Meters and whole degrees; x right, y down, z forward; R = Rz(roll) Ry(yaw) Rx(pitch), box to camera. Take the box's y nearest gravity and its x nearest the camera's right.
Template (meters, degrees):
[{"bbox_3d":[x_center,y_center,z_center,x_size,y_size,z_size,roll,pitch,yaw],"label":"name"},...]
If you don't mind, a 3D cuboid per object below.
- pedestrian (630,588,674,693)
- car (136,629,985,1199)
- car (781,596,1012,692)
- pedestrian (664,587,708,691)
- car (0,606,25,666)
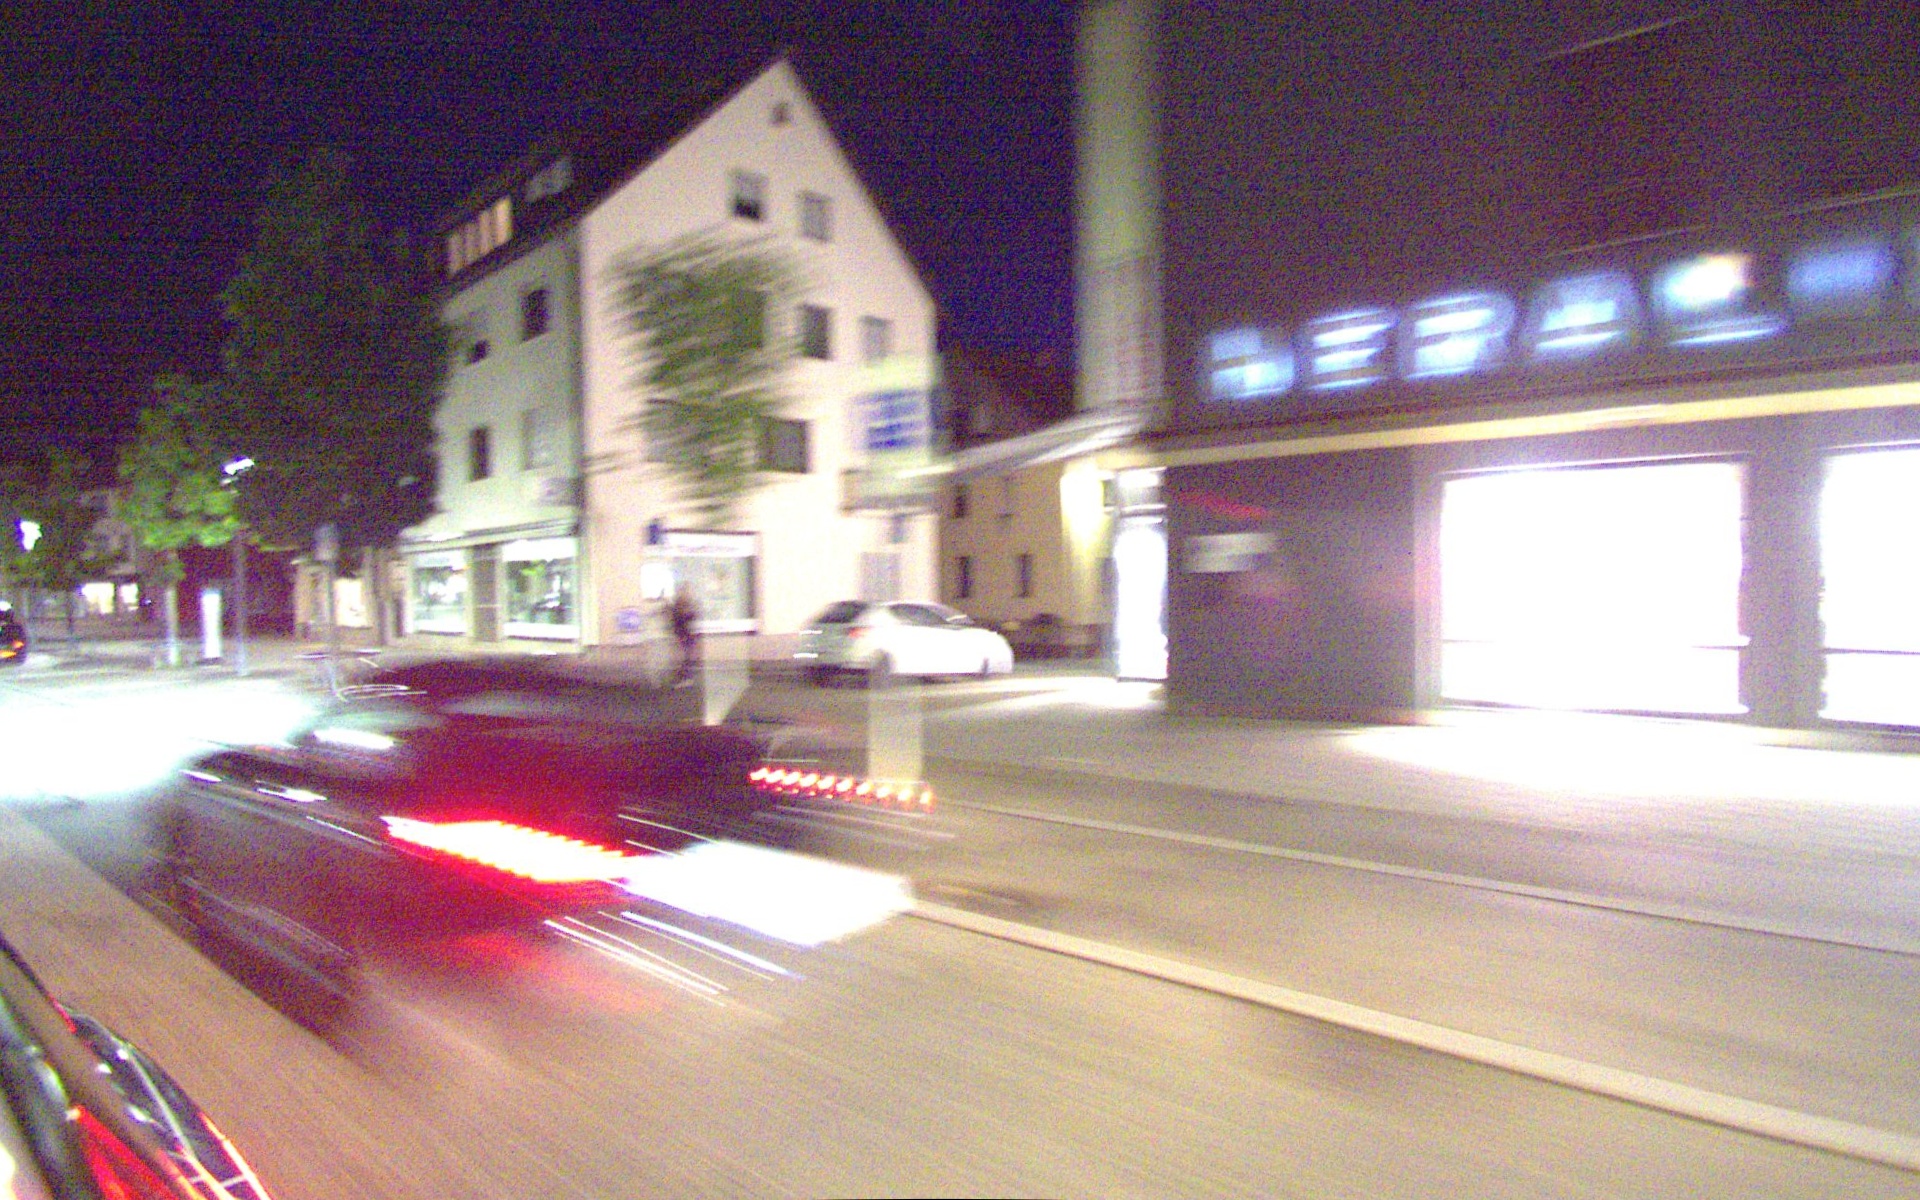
[{"bbox_3d":[-4.808,0.616,15.797,0.520,1.600,0.668,-1,0,-27],"label":"pedestrian"},{"bbox_3d":[-1.974,0.810,4.378,3.914,1.289,1.799,-1,0,41],"label":"car"},{"bbox_3d":[-0.963,0.664,16.899,1.652,1.427,3.782,-1,-1,42],"label":"car"},{"bbox_3d":[-4.343,0.598,16.038,0.520,1.600,0.668,-1,0,-27],"label":"pedestrian"},{"bbox_3d":[-28.826,1.073,29.539,3.801,1.659,1.791,-1,1,41],"label":"car"}]
